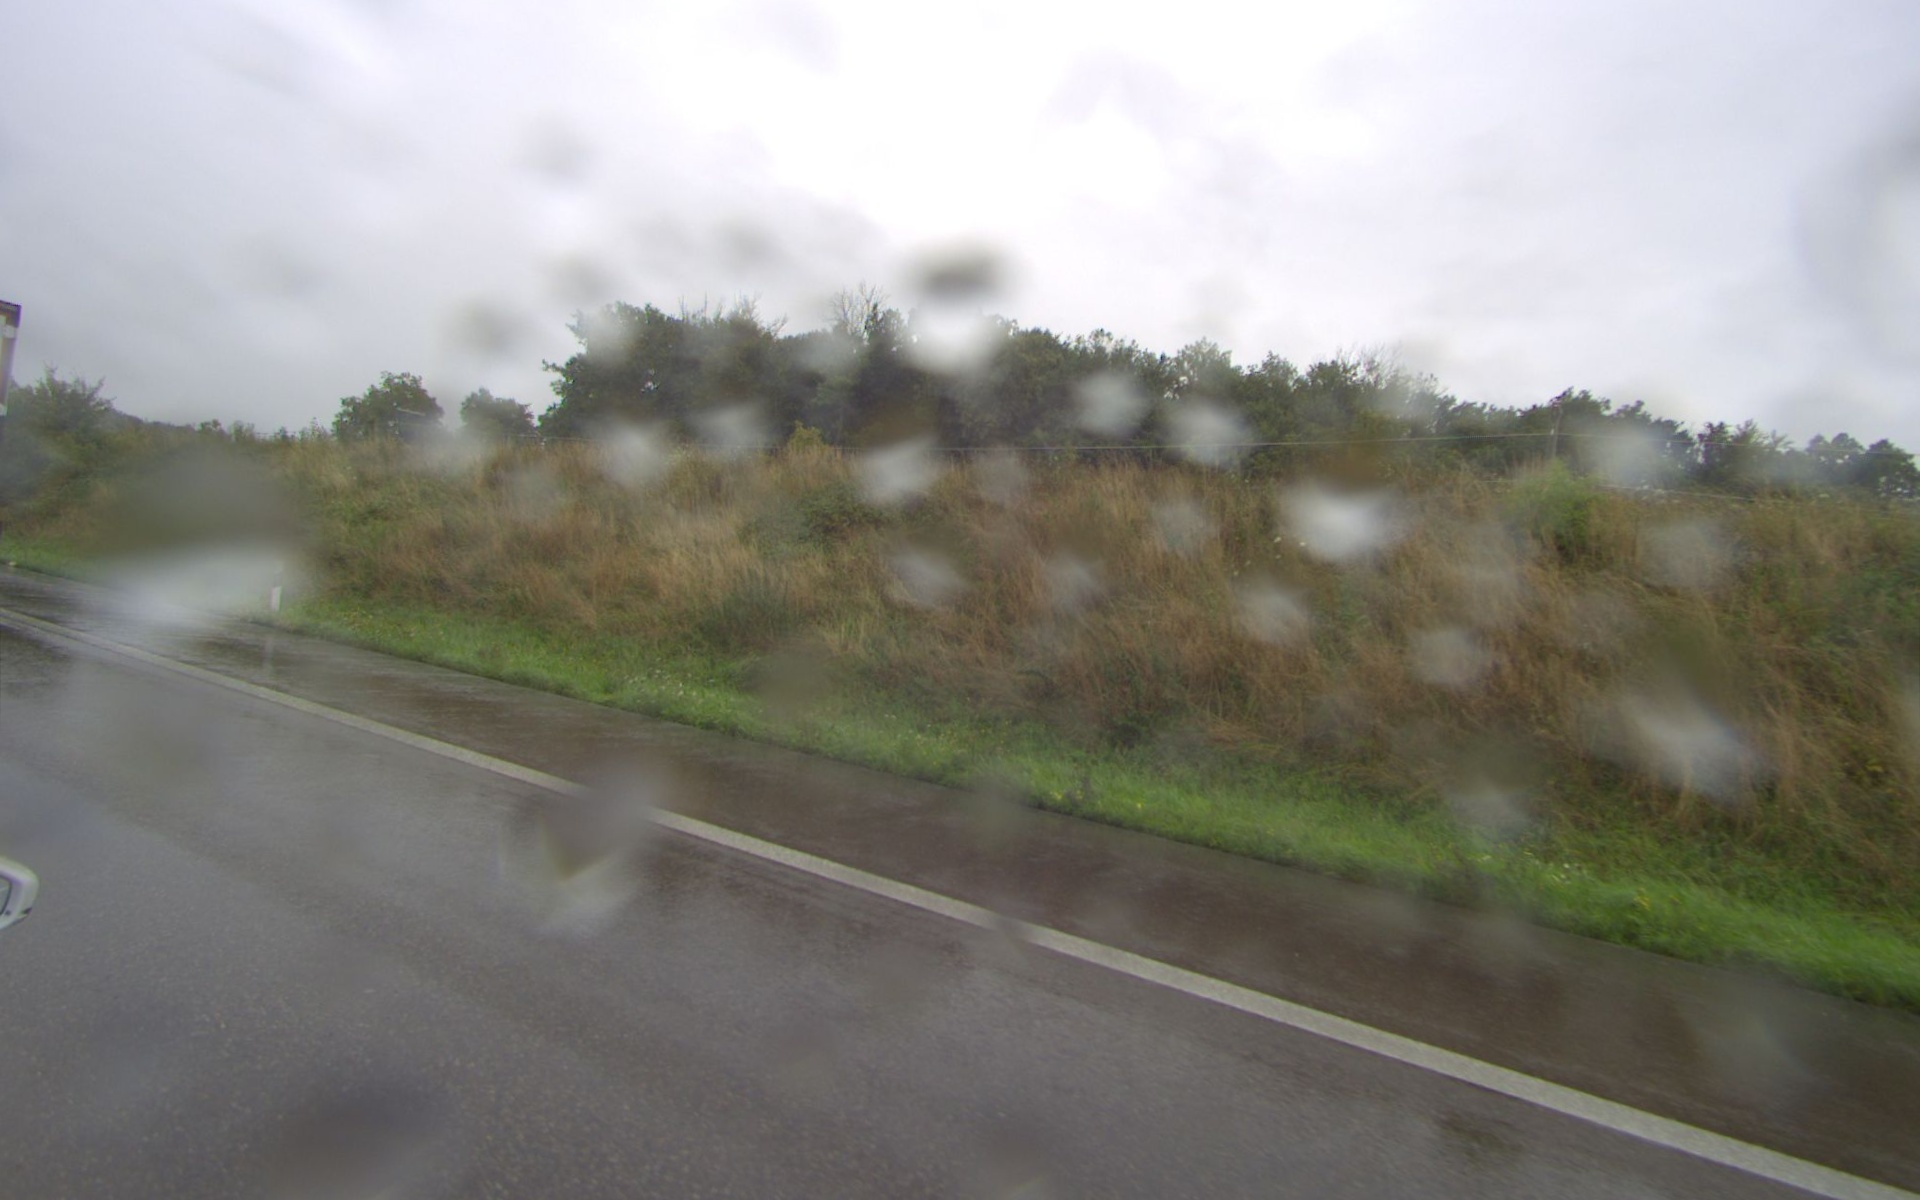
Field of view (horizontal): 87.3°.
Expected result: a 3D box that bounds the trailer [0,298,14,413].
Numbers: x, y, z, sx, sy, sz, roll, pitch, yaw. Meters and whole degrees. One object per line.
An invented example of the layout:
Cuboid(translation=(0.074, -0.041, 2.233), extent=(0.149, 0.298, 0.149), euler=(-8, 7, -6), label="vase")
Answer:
Cuboid(translation=(-19.729, -2.841, 16.202), extent=(14.386, 4.061, 2.634), euler=(7, -1, 32), label="trailer")
